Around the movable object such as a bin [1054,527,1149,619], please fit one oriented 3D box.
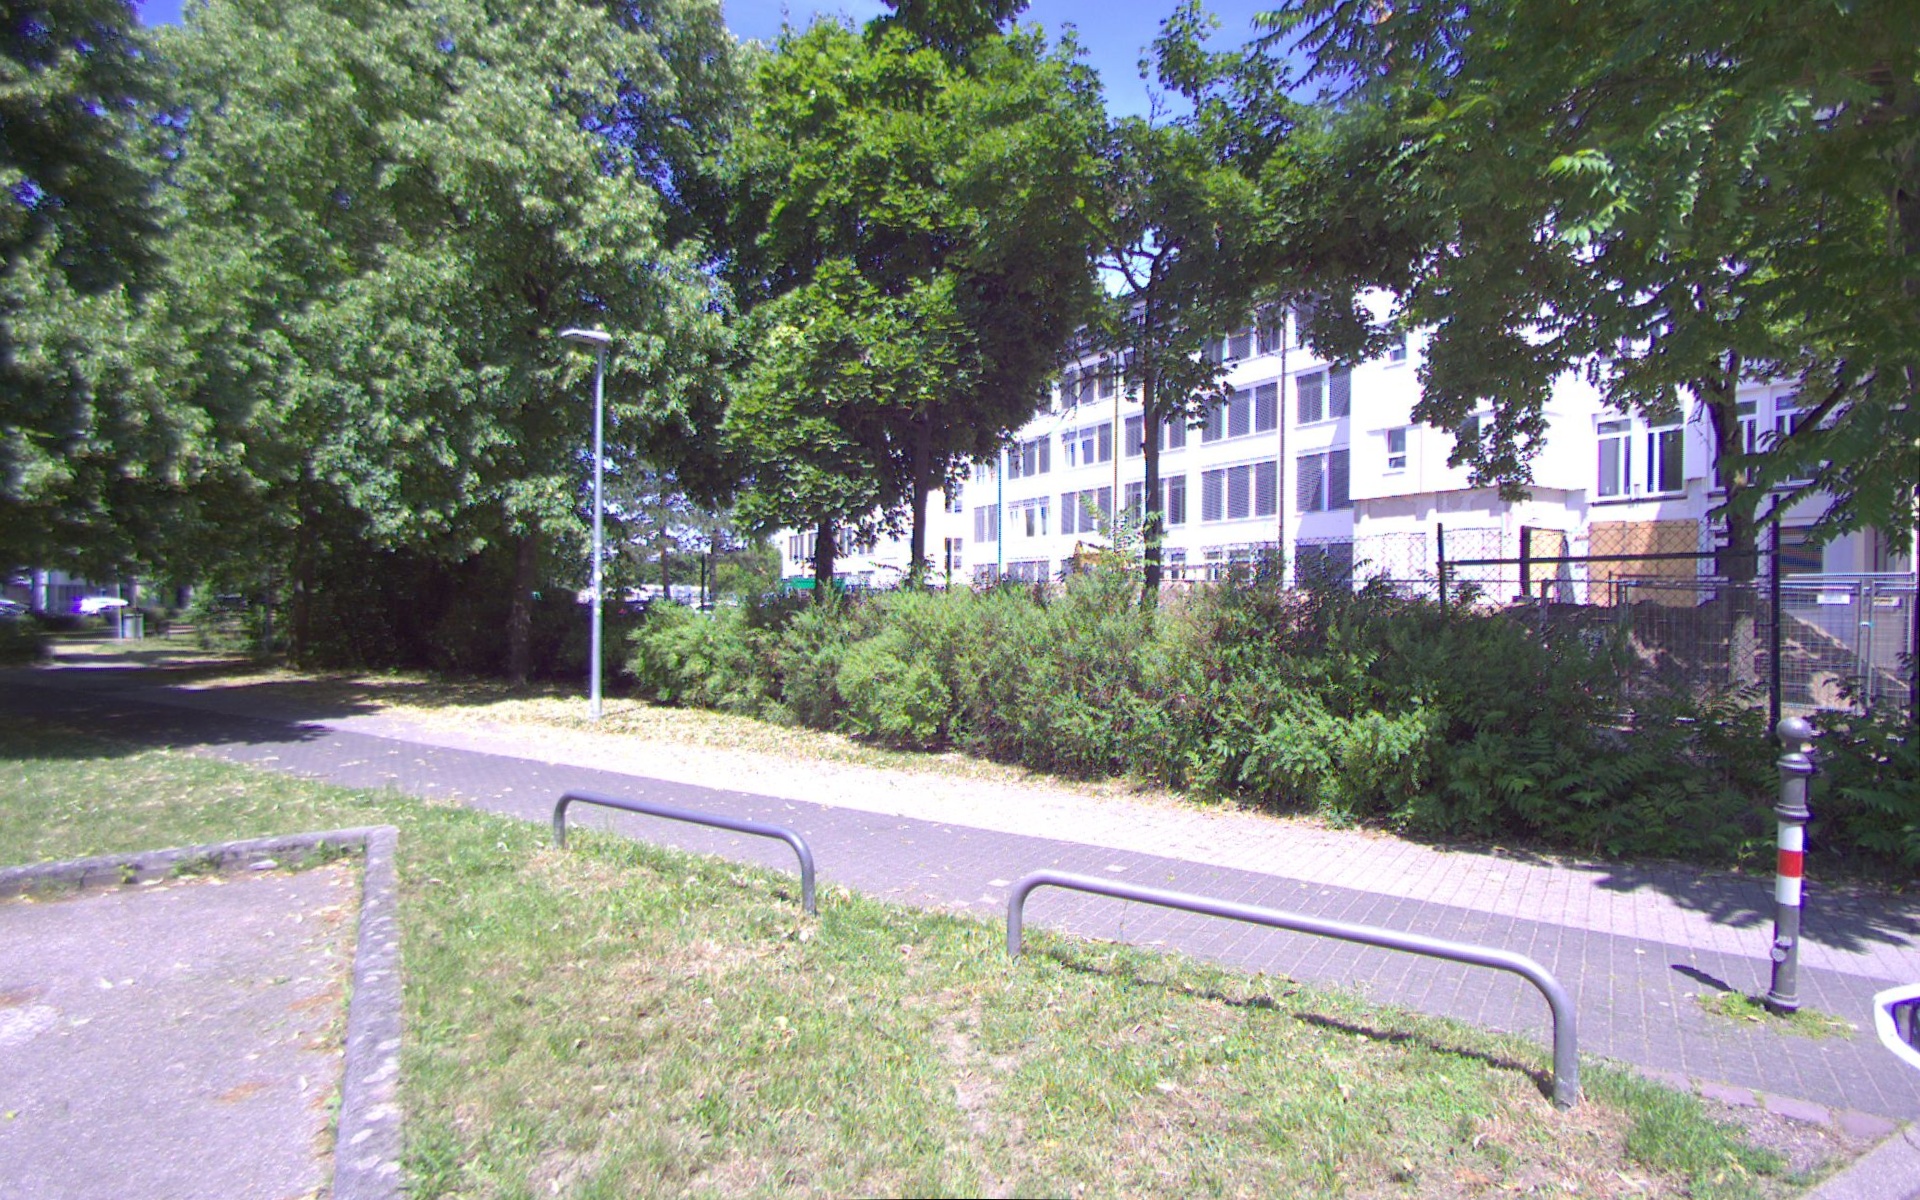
[{"bbox_3d":[7.182,-1.307,51.799,1.974,4.430,5.686,1,-1,-26],"label":"movable object such as a bin"}]
